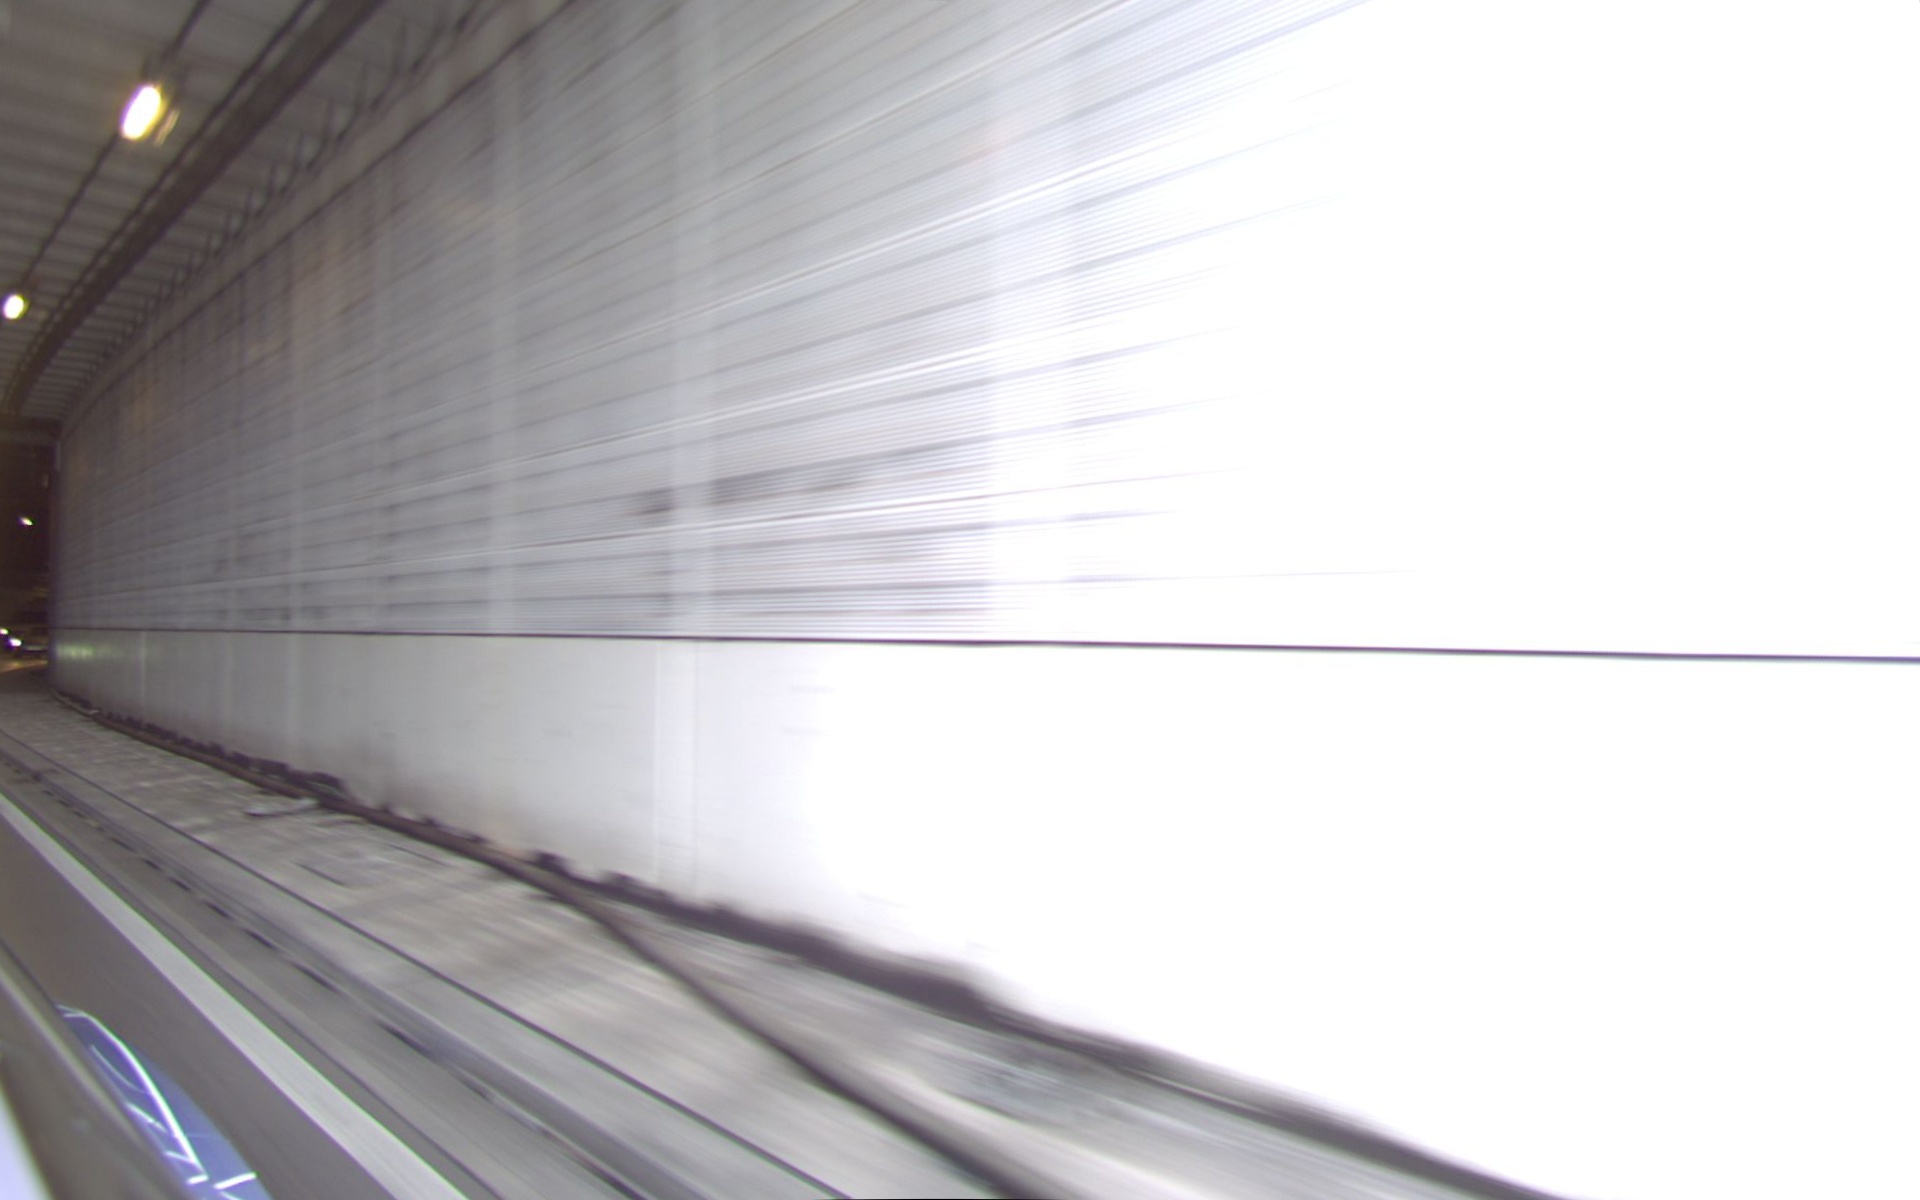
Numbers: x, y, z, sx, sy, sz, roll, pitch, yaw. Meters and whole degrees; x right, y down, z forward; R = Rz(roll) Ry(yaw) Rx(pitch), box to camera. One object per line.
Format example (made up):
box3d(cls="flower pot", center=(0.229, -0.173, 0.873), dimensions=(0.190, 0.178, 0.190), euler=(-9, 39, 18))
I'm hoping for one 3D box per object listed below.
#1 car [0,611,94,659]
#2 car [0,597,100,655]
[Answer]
box3d(cls="car", center=(-40.487, 1.500, 44.389), dimensions=(2.335, 1.939, 5.216), euler=(-1, 0, -23))
box3d(cls="car", center=(-47.862, 1.354, 52.822), dimensions=(2.517, 2.789, 7.375), euler=(1, -2, -24))
